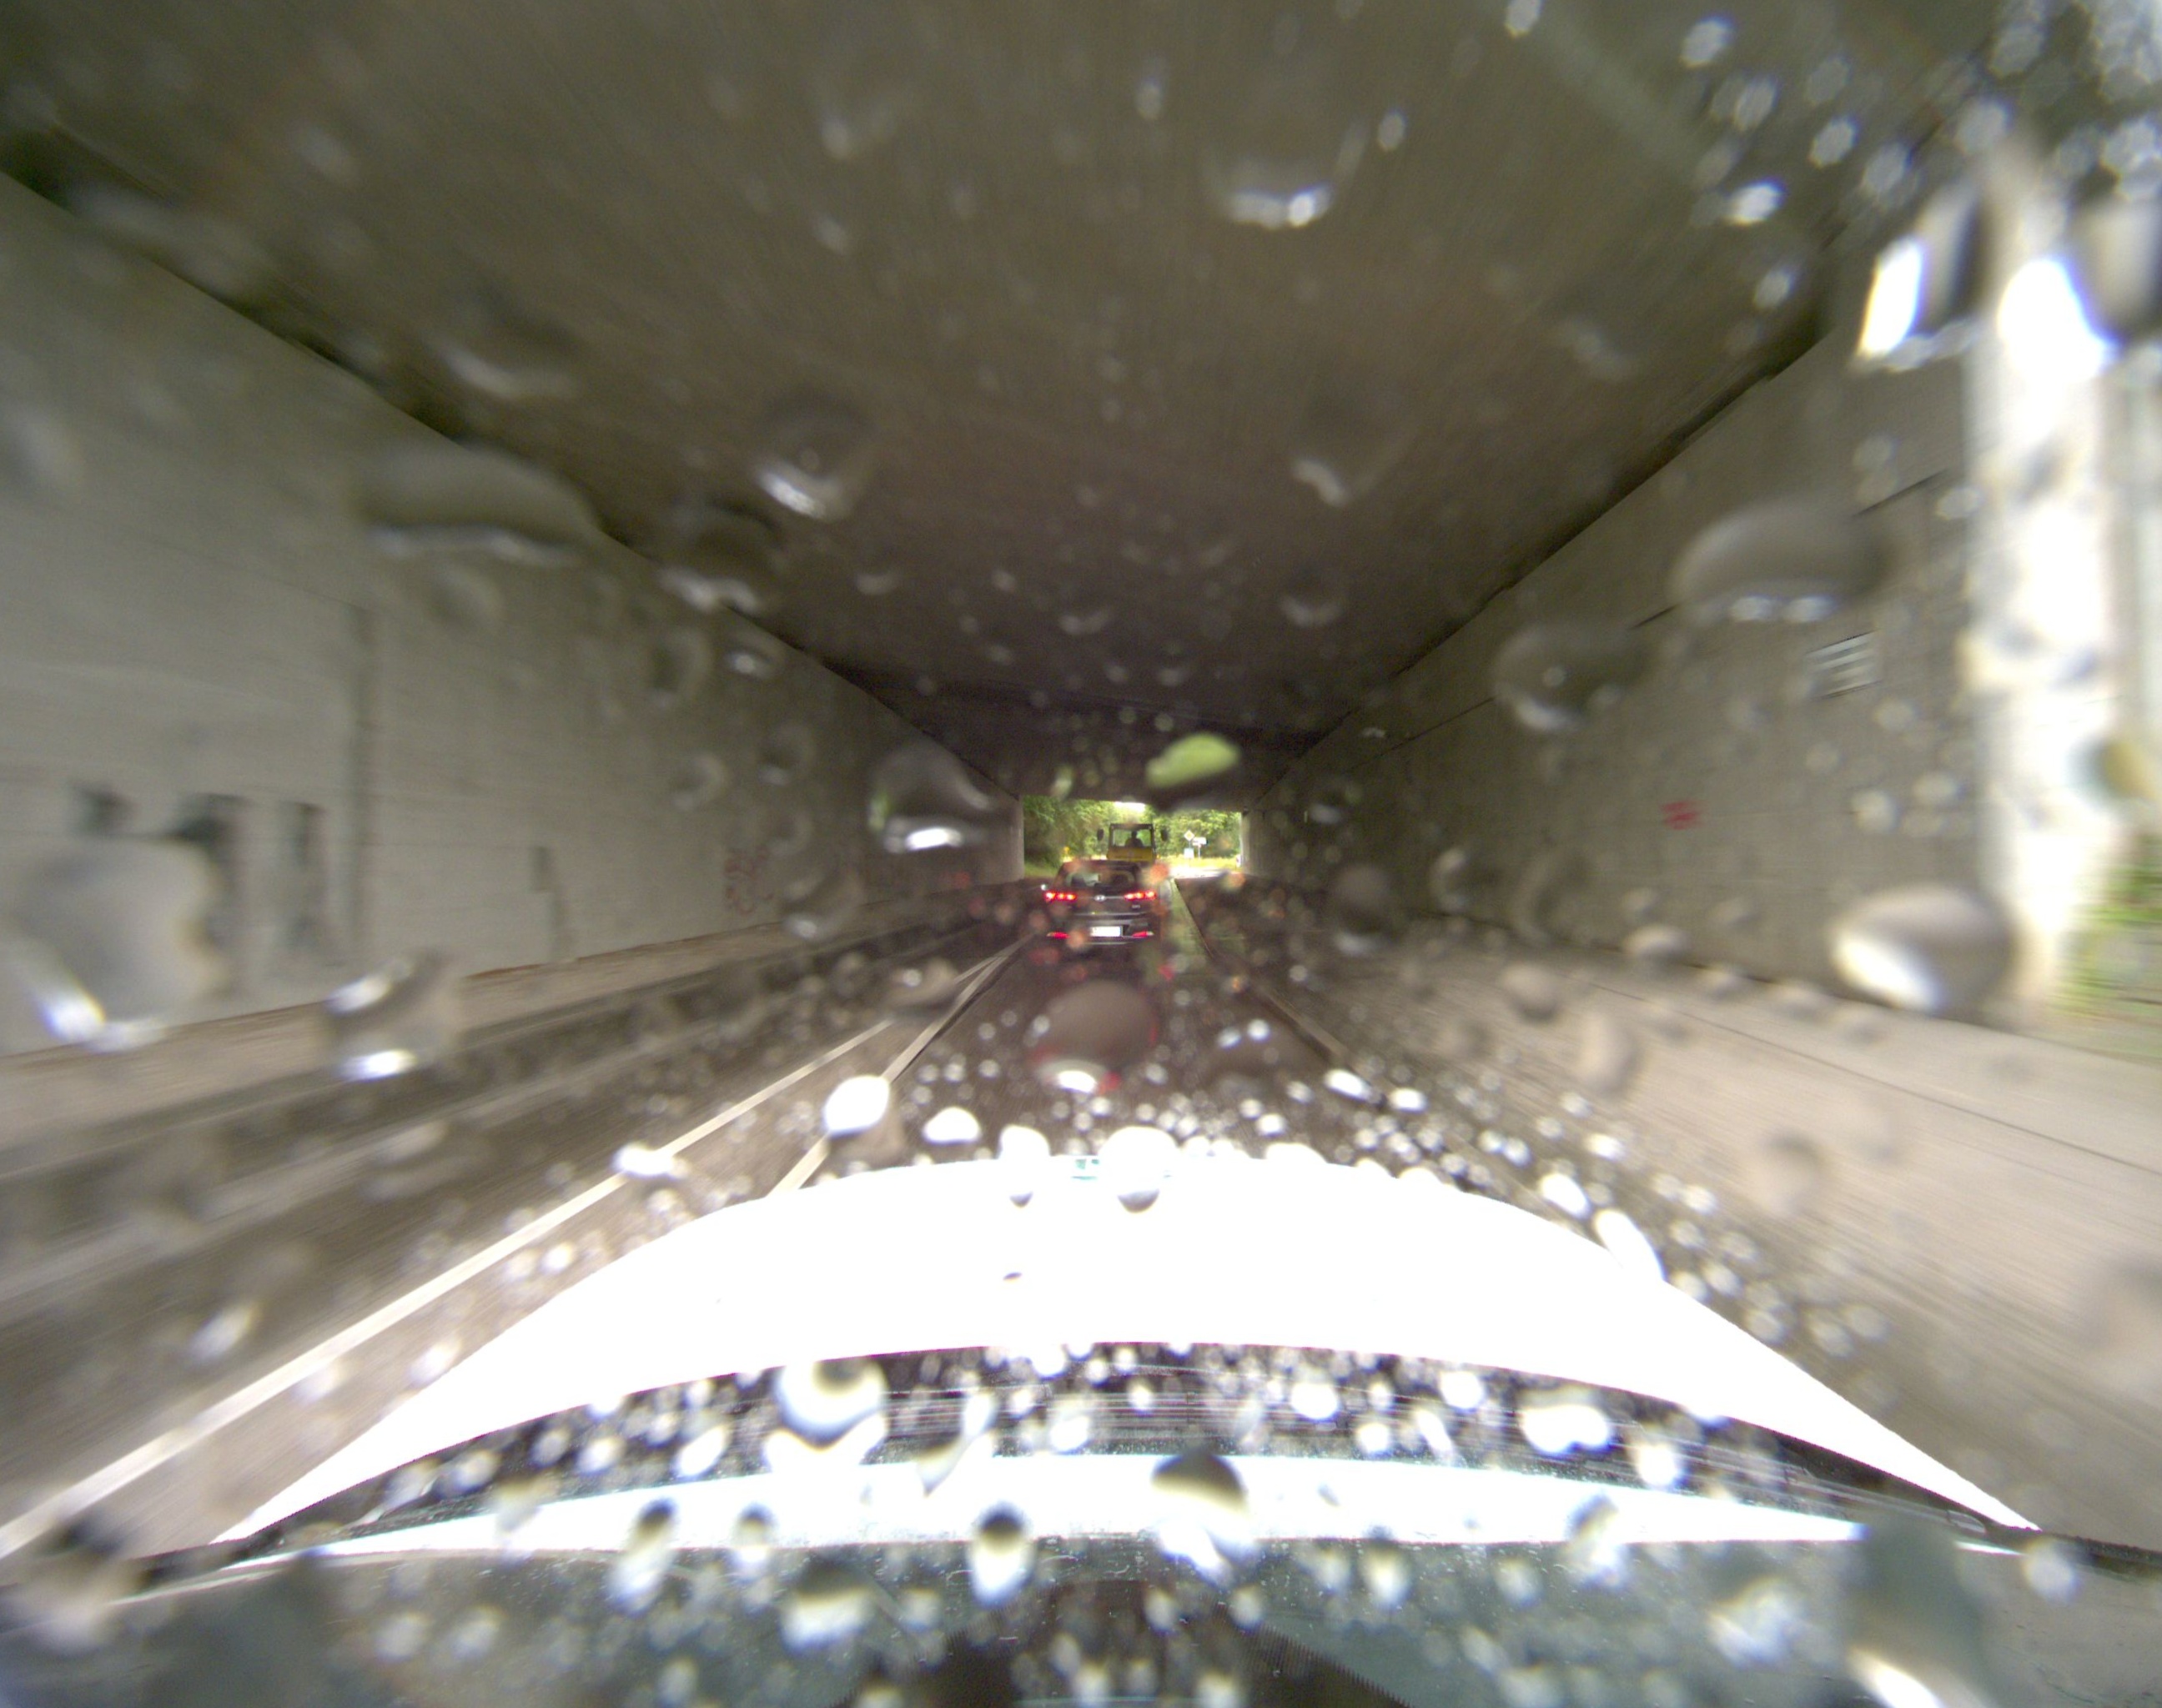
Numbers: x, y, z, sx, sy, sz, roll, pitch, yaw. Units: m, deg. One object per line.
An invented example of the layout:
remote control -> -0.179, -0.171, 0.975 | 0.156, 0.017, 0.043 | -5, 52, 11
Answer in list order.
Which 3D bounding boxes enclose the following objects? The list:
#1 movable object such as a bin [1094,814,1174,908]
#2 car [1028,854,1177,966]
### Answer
movable object such as a bin -> 1.653, 0.207, 26.489 | 2.237, 2.669, 6.630 | 1, 0, 2
car -> 0.369, 0.761, 12.980 | 1.986, 1.487, 4.002 | 1, 0, 2
